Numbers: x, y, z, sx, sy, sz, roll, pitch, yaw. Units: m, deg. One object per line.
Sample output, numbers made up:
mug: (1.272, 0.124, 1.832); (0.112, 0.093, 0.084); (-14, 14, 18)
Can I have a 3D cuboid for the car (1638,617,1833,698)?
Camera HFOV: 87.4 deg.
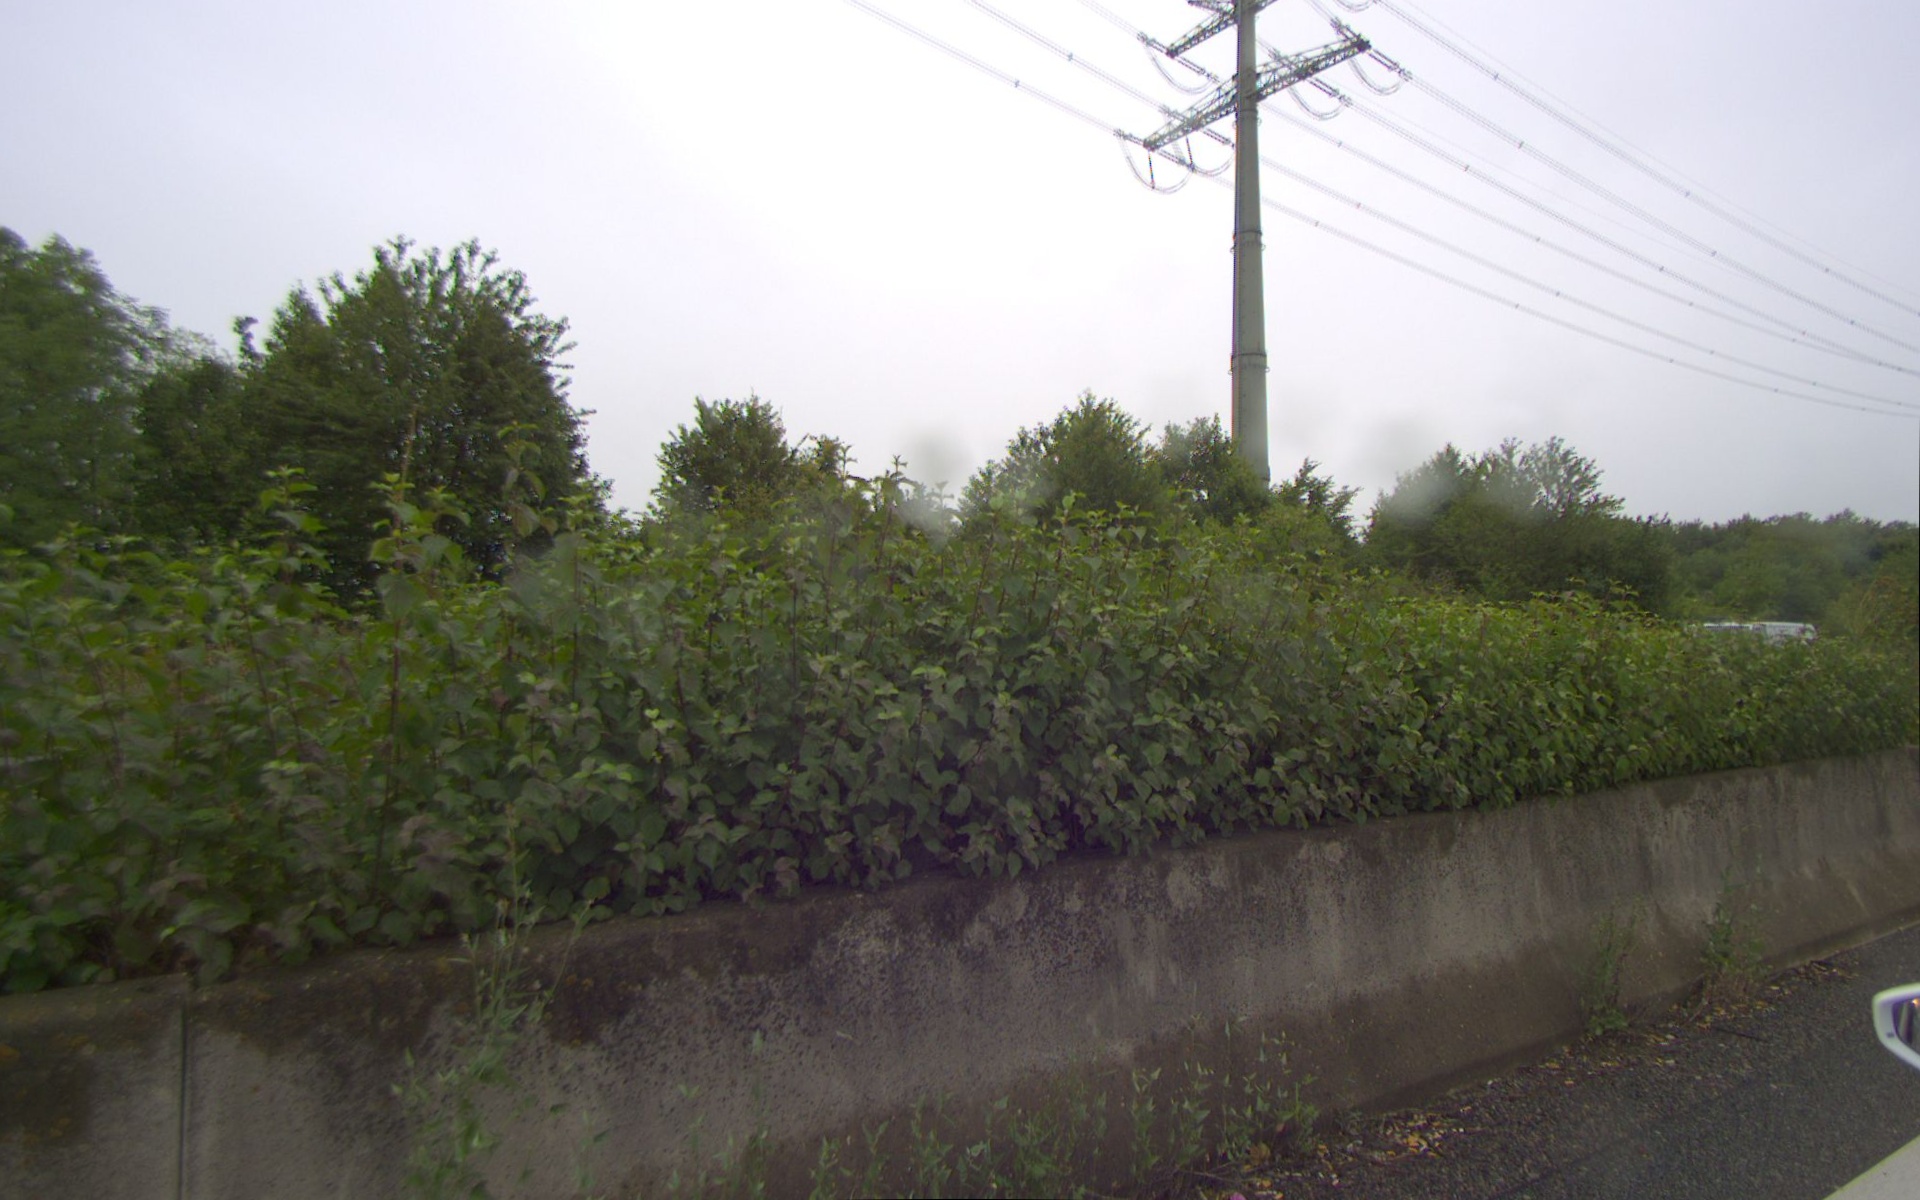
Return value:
car: (18.581, 1.315, 24.024); (5.000, 1.749, 1.984); (1, -1, -30)
